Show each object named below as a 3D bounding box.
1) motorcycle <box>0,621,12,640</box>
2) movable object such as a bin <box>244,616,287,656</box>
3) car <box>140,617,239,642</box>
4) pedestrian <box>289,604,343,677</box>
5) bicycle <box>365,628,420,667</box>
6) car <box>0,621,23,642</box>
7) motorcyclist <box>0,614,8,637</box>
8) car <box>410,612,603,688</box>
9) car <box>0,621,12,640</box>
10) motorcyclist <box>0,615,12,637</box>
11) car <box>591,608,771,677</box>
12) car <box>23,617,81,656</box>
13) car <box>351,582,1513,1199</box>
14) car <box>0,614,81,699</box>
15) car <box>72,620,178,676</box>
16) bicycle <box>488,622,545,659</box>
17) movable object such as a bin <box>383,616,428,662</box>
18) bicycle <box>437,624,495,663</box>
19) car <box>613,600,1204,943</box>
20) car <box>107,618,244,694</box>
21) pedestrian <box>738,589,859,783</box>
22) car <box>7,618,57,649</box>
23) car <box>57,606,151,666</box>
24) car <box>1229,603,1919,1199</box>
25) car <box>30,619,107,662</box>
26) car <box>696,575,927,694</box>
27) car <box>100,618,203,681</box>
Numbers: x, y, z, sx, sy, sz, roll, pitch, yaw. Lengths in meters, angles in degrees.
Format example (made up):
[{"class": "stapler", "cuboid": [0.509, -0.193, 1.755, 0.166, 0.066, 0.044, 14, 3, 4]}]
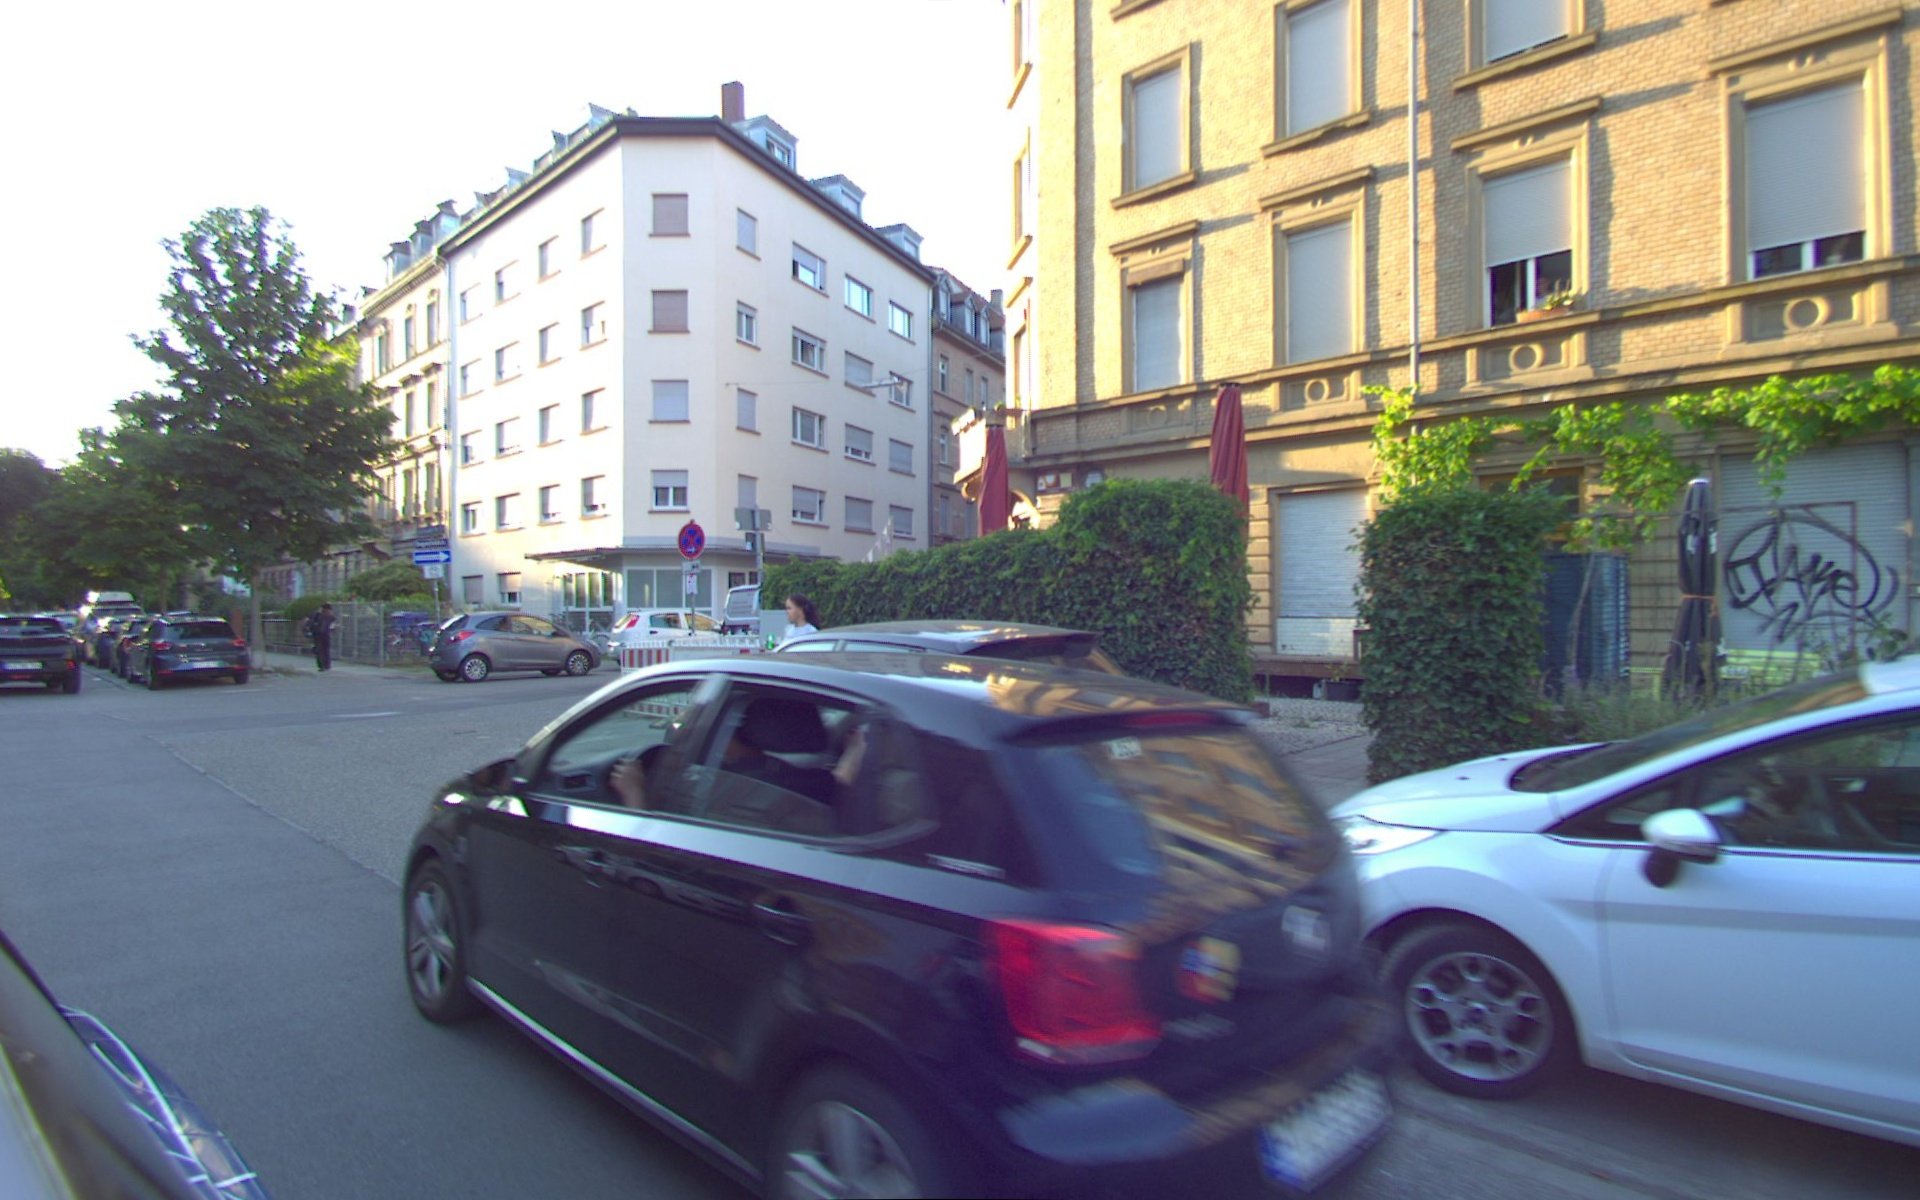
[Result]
[{"class": "motorcycle", "cuboid": [-65.058, 2.058, 68.598, 0.835, 1.218, 2.079, 4, -3, -35]}, {"class": "movable object such as a bin", "cuboid": [-25.552, 1.322, 37.210, 1.551, 1.397, 0.936, -1, 0, 41]}, {"class": "car", "cuboid": [-44.296, 1.666, 58.259, 1.626, 1.351, 4.351, -1, 0, 45]}, {"class": "pedestrian", "cuboid": [-15.863, 0.973, 24.956, 0.876, 1.735, 0.962, -1, 0, -19]}, {"class": "bicycle", "cuboid": [-16.002, 1.332, 28.538, 1.930, 1.033, 0.680, -1, 0, 39]}, {"class": "car", "cuboid": [-74.531, 2.449, 78.913, 3.739, 1.504, 1.926, -1, 0, 44]}, {"class": "motorcyclist", "cuboid": [-64.710, 1.702, 68.104, 0.777, 1.552, 0.547, 4, -3, -36]}, {"class": "car", "cuboid": [-9.994, 1.054, 22.436, 1.845, 1.519, 3.467, -2, -1, 44]}, {"class": "car", "cuboid": [-78.773, 2.482, 82.643, 3.643, 1.504, 1.815, -1, 0, 44]}, {"class": "motorcyclist", "cuboid": [-65.147, 1.760, 68.744, 0.877, 1.516, 0.971, 4, -3, -36]}, {"class": "car", "cuboid": [-7.100, 1.028, 25.847, 4.004, 1.520, 1.979, -2, 0, -33]}, {"class": "car", "cuboid": [-42.320, 1.655, 47.135, 1.840, 1.675, 4.024, 0, 0, -45]}, {"class": "car", "cuboid": [-0.527, 0.767, 3.434, 3.943, 1.466, 1.633, -1, -4, 44]}, {"class": "car", "cuboid": [-18.530, 1.036, 19.604, 3.999, 1.529, 1.760, -1, -2, 42]}, {"class": "car", "cuboid": [-24.180, 1.326, 29.247, 4.591, 1.423, 1.841, -1, 0, 44]}, {"class": "bicycle", "cuboid": [-14.274, 1.280, 32.582, 0.500, 1.100, 1.615, -1, 0, 38]}, {"class": "movable object such as a bin", "cuboid": [-17.163, 1.181, 31.331, 0.856, 1.362, 1.399, -1, 0, -44]}, {"class": "bicycle", "cuboid": [-14.710, 1.287, 30.149, 1.530, 1.100, 0.500, -1, 0, 7]}, {"class": "car", "cuboid": [-0.557, 0.803, 6.561, 3.846, 1.546, 1.684, -1, -1, 45]}, {"class": "car", "cuboid": [-17.197, 1.146, 22.106, 4.463, 1.472, 1.656, -1, 0, 43]}, {"class": "pedestrian", "cuboid": [-1.438, 0.729, 9.058, 0.709, 1.630, 0.778, -1, 0, 31]}, {"class": "car", "cuboid": [-50.688, 1.801, 55.264, 3.940, 1.649, 1.655, -1, 0, 42]}, {"class": "car", "cuboid": [-27.752, 1.106, 32.766, 4.624, 1.792, 1.841, -1, 0, 44]}, {"class": "car", "cuboid": [3.007, 0.786, 2.908, 4.016, 1.542, 1.633, -1, 0, 42]}, {"class": "car", "cuboid": [-32.482, 1.443, 36.853, 4.024, 1.452, 1.709, -1, 0, 43]}, {"class": "car", "cuboid": [-2.690, 0.636, 19.894, 2.193, 1.990, 5.257, -1, -1, 21]}, {"class": "car", "cuboid": [-20.516, 1.190, 25.618, 1.721, 1.431, 4.146, 0, 0, -43]}]
